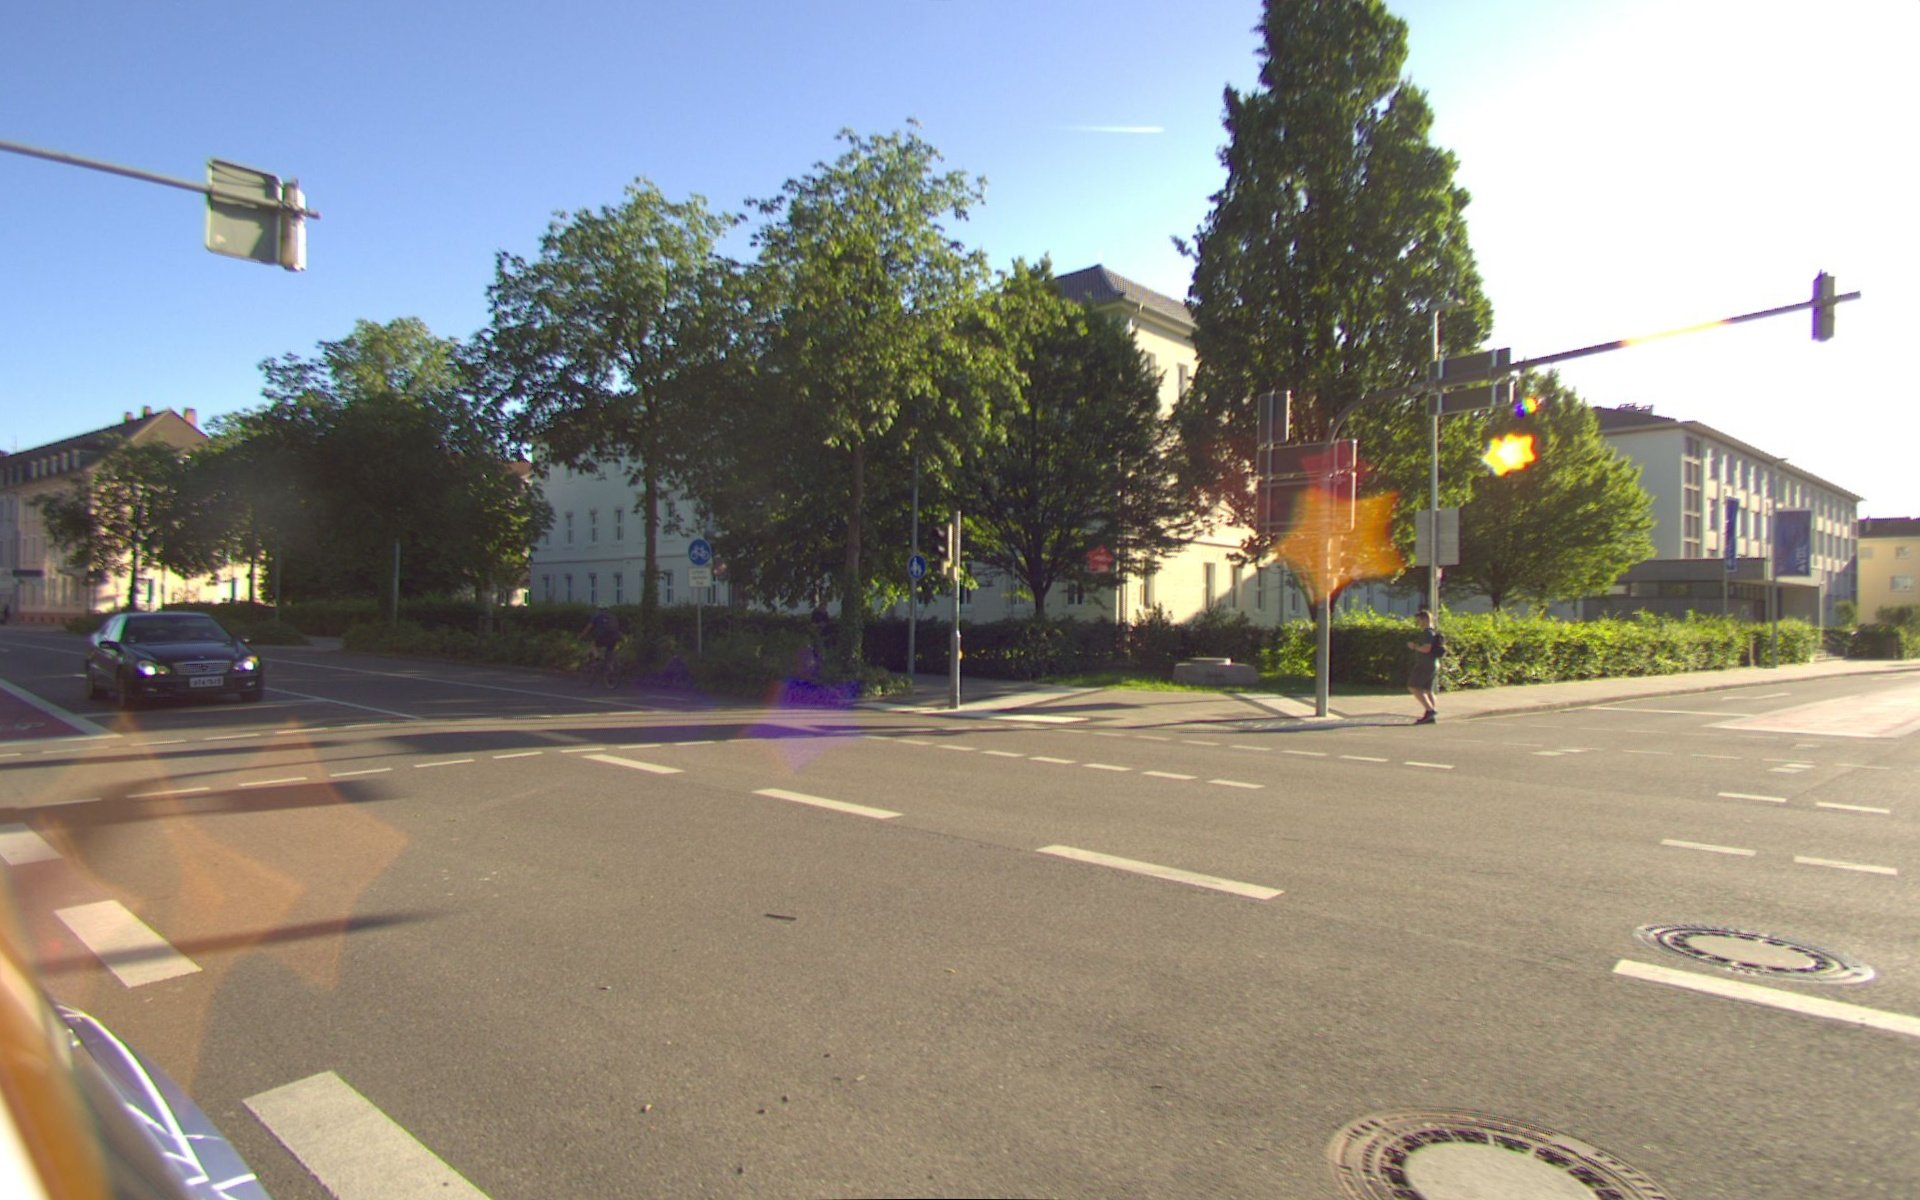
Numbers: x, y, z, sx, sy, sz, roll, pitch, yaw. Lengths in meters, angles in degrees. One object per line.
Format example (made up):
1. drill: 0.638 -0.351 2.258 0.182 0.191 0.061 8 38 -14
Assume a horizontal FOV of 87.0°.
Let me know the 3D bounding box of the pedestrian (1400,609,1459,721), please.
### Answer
1. pedestrian: 7.910 1.070 17.053 0.681 1.830 0.681 2 -2 -40

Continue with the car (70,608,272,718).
1. car: -12.451 0.877 15.857 4.525 1.428 1.699 0 1 42

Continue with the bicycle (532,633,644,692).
1. bicycle: -7.625 1.261 20.760 2.171 1.125 0.694 0 -1 18

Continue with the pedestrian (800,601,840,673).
1. pedestrian: -3.378 0.882 24.498 0.681 1.694 0.681 2 -2 -40

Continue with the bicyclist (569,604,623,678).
1. bicyclist: -7.448 0.827 20.724 0.752 1.477 0.694 0 -1 19
